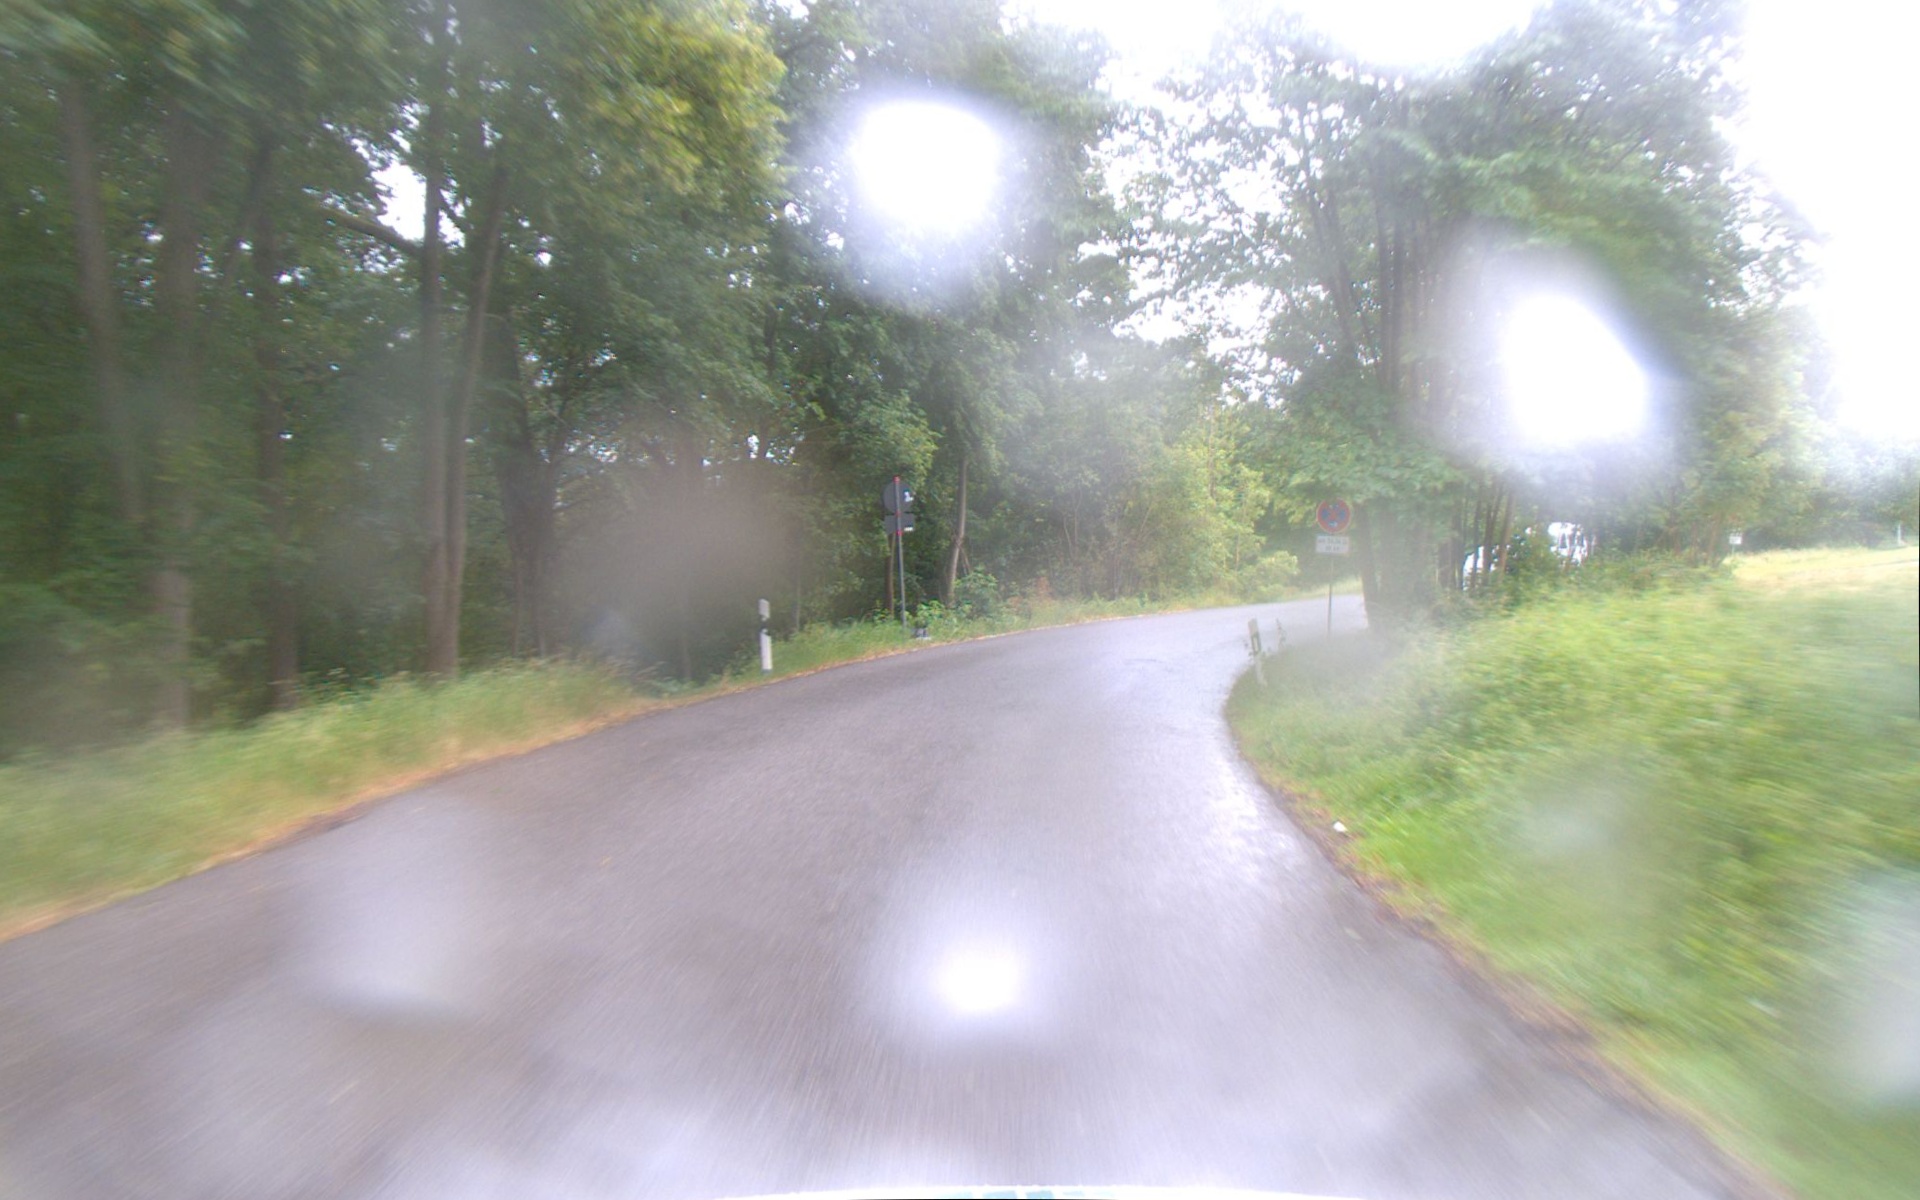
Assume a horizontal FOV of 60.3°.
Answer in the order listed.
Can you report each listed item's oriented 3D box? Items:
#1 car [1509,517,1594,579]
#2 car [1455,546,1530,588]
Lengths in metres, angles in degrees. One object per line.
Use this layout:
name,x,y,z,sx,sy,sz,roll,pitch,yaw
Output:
car,29.094,-2.582,81.207,2.234,2.743,6.028,-3,2,36
car,23.552,-1.462,73.047,1.830,1.623,4.479,-2,2,36
